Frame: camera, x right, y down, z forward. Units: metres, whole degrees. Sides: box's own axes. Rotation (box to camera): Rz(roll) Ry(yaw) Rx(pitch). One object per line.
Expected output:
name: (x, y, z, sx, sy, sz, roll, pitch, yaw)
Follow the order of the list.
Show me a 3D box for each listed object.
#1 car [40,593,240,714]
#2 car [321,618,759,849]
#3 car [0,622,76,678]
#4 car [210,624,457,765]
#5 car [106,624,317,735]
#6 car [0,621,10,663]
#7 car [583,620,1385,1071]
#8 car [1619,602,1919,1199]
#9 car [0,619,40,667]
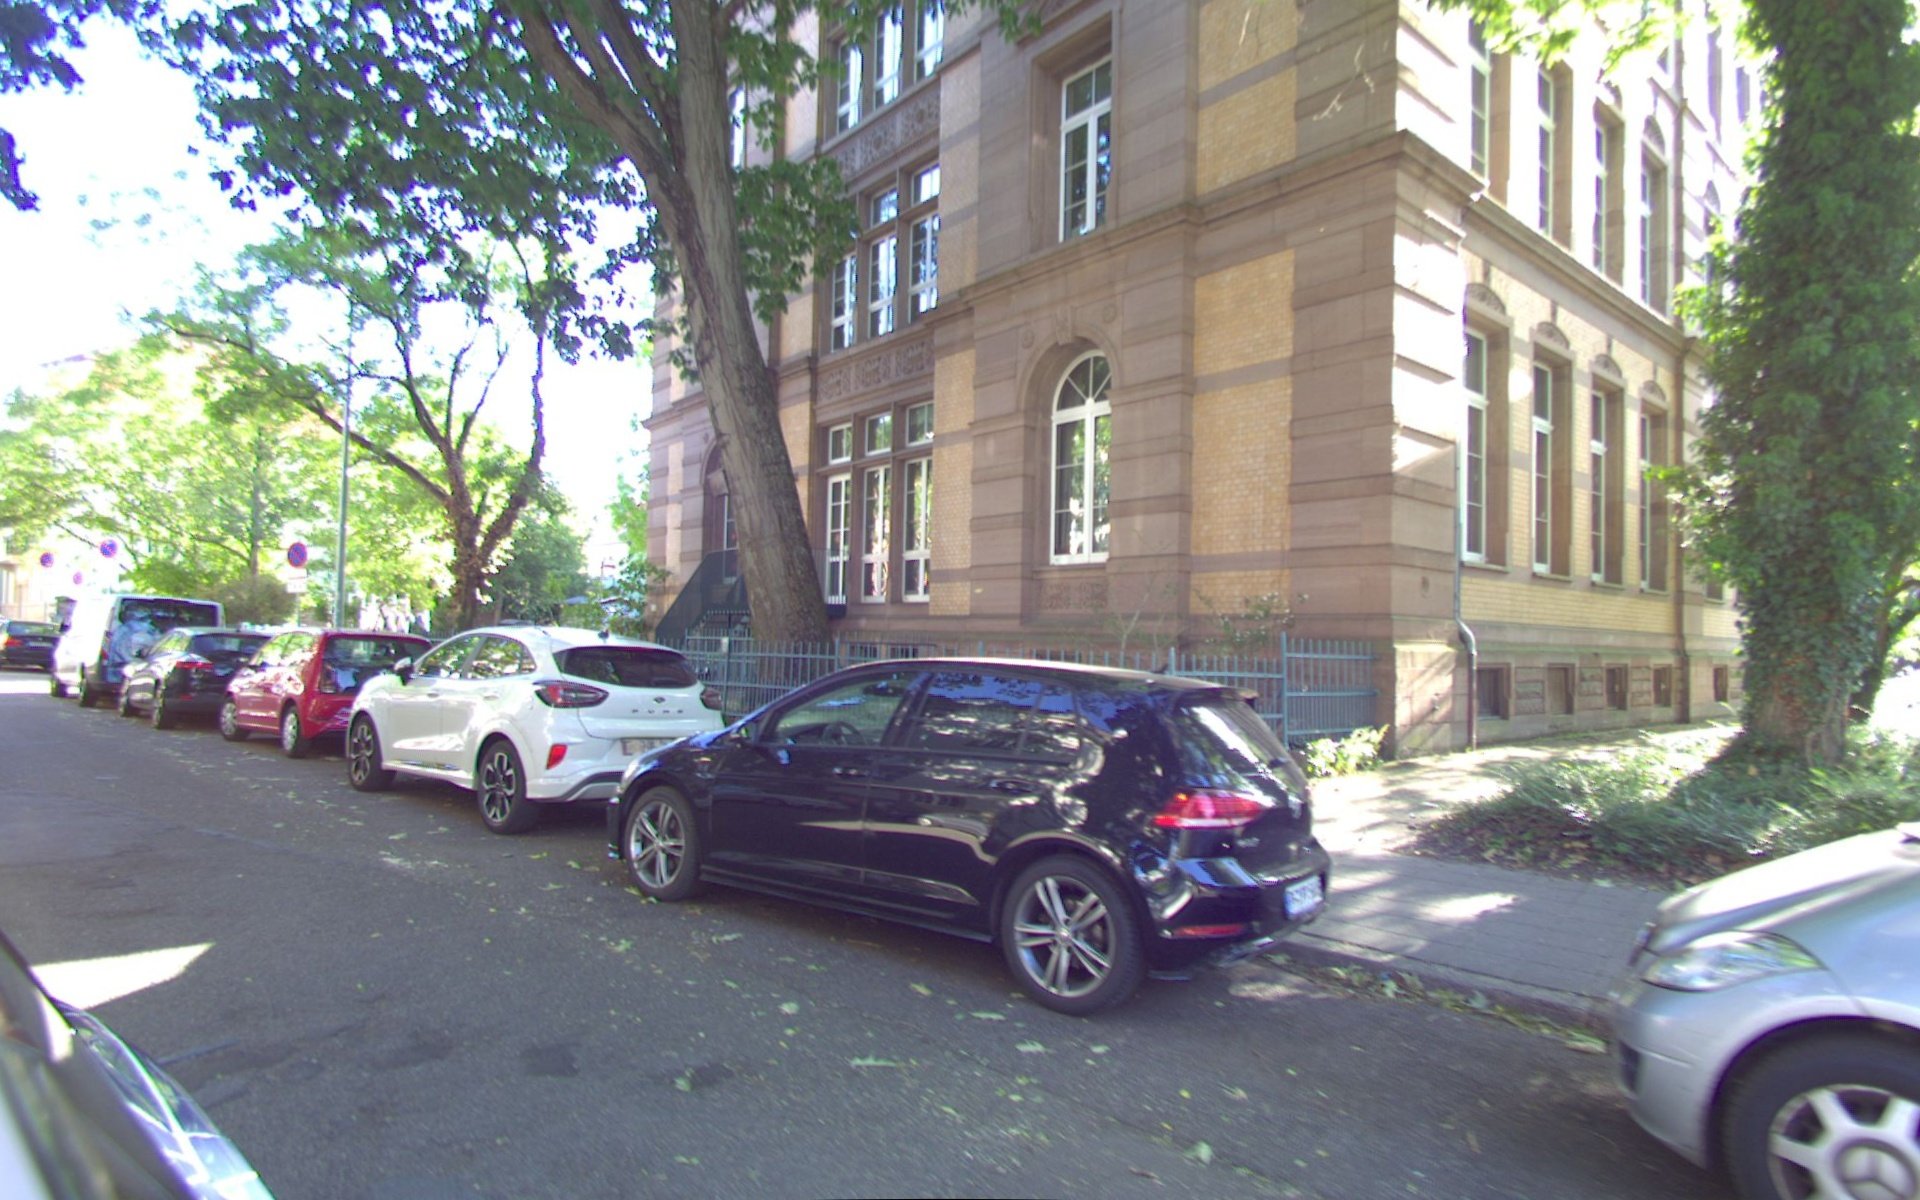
car: (-15.533, 0.994, 19.068, 5.040, 1.972, 1.973, -1, -6, 41)
car: (-3.759, 1.007, 8.780, 3.997, 1.545, 1.770, -1, -6, 40)
car: (-26.464, 1.382, 28.543, 3.998, 1.475, 1.716, -1, -4, 41)
car: (-7.740, 1.081, 12.417, 3.309, 1.475, 1.603, -1, -5, 41)
car: (-11.451, 1.147, 15.401, 3.842, 1.475, 1.708, -1, -5, 41)
car: (-35.894, 1.484, 36.613, 4.206, 1.470, 1.765, -1, -3, 41)
car: (-0.047, 0.967, 5.378, 3.991, 1.475, 1.567, 1, -6, 35)
car: (3.812, 0.869, 2.074, 3.950, 1.570, 1.688, 0, -6, 41)
car: (-31.233, 1.346, 32.736, 3.998, 1.484, 1.732, -1, -2, 41)
